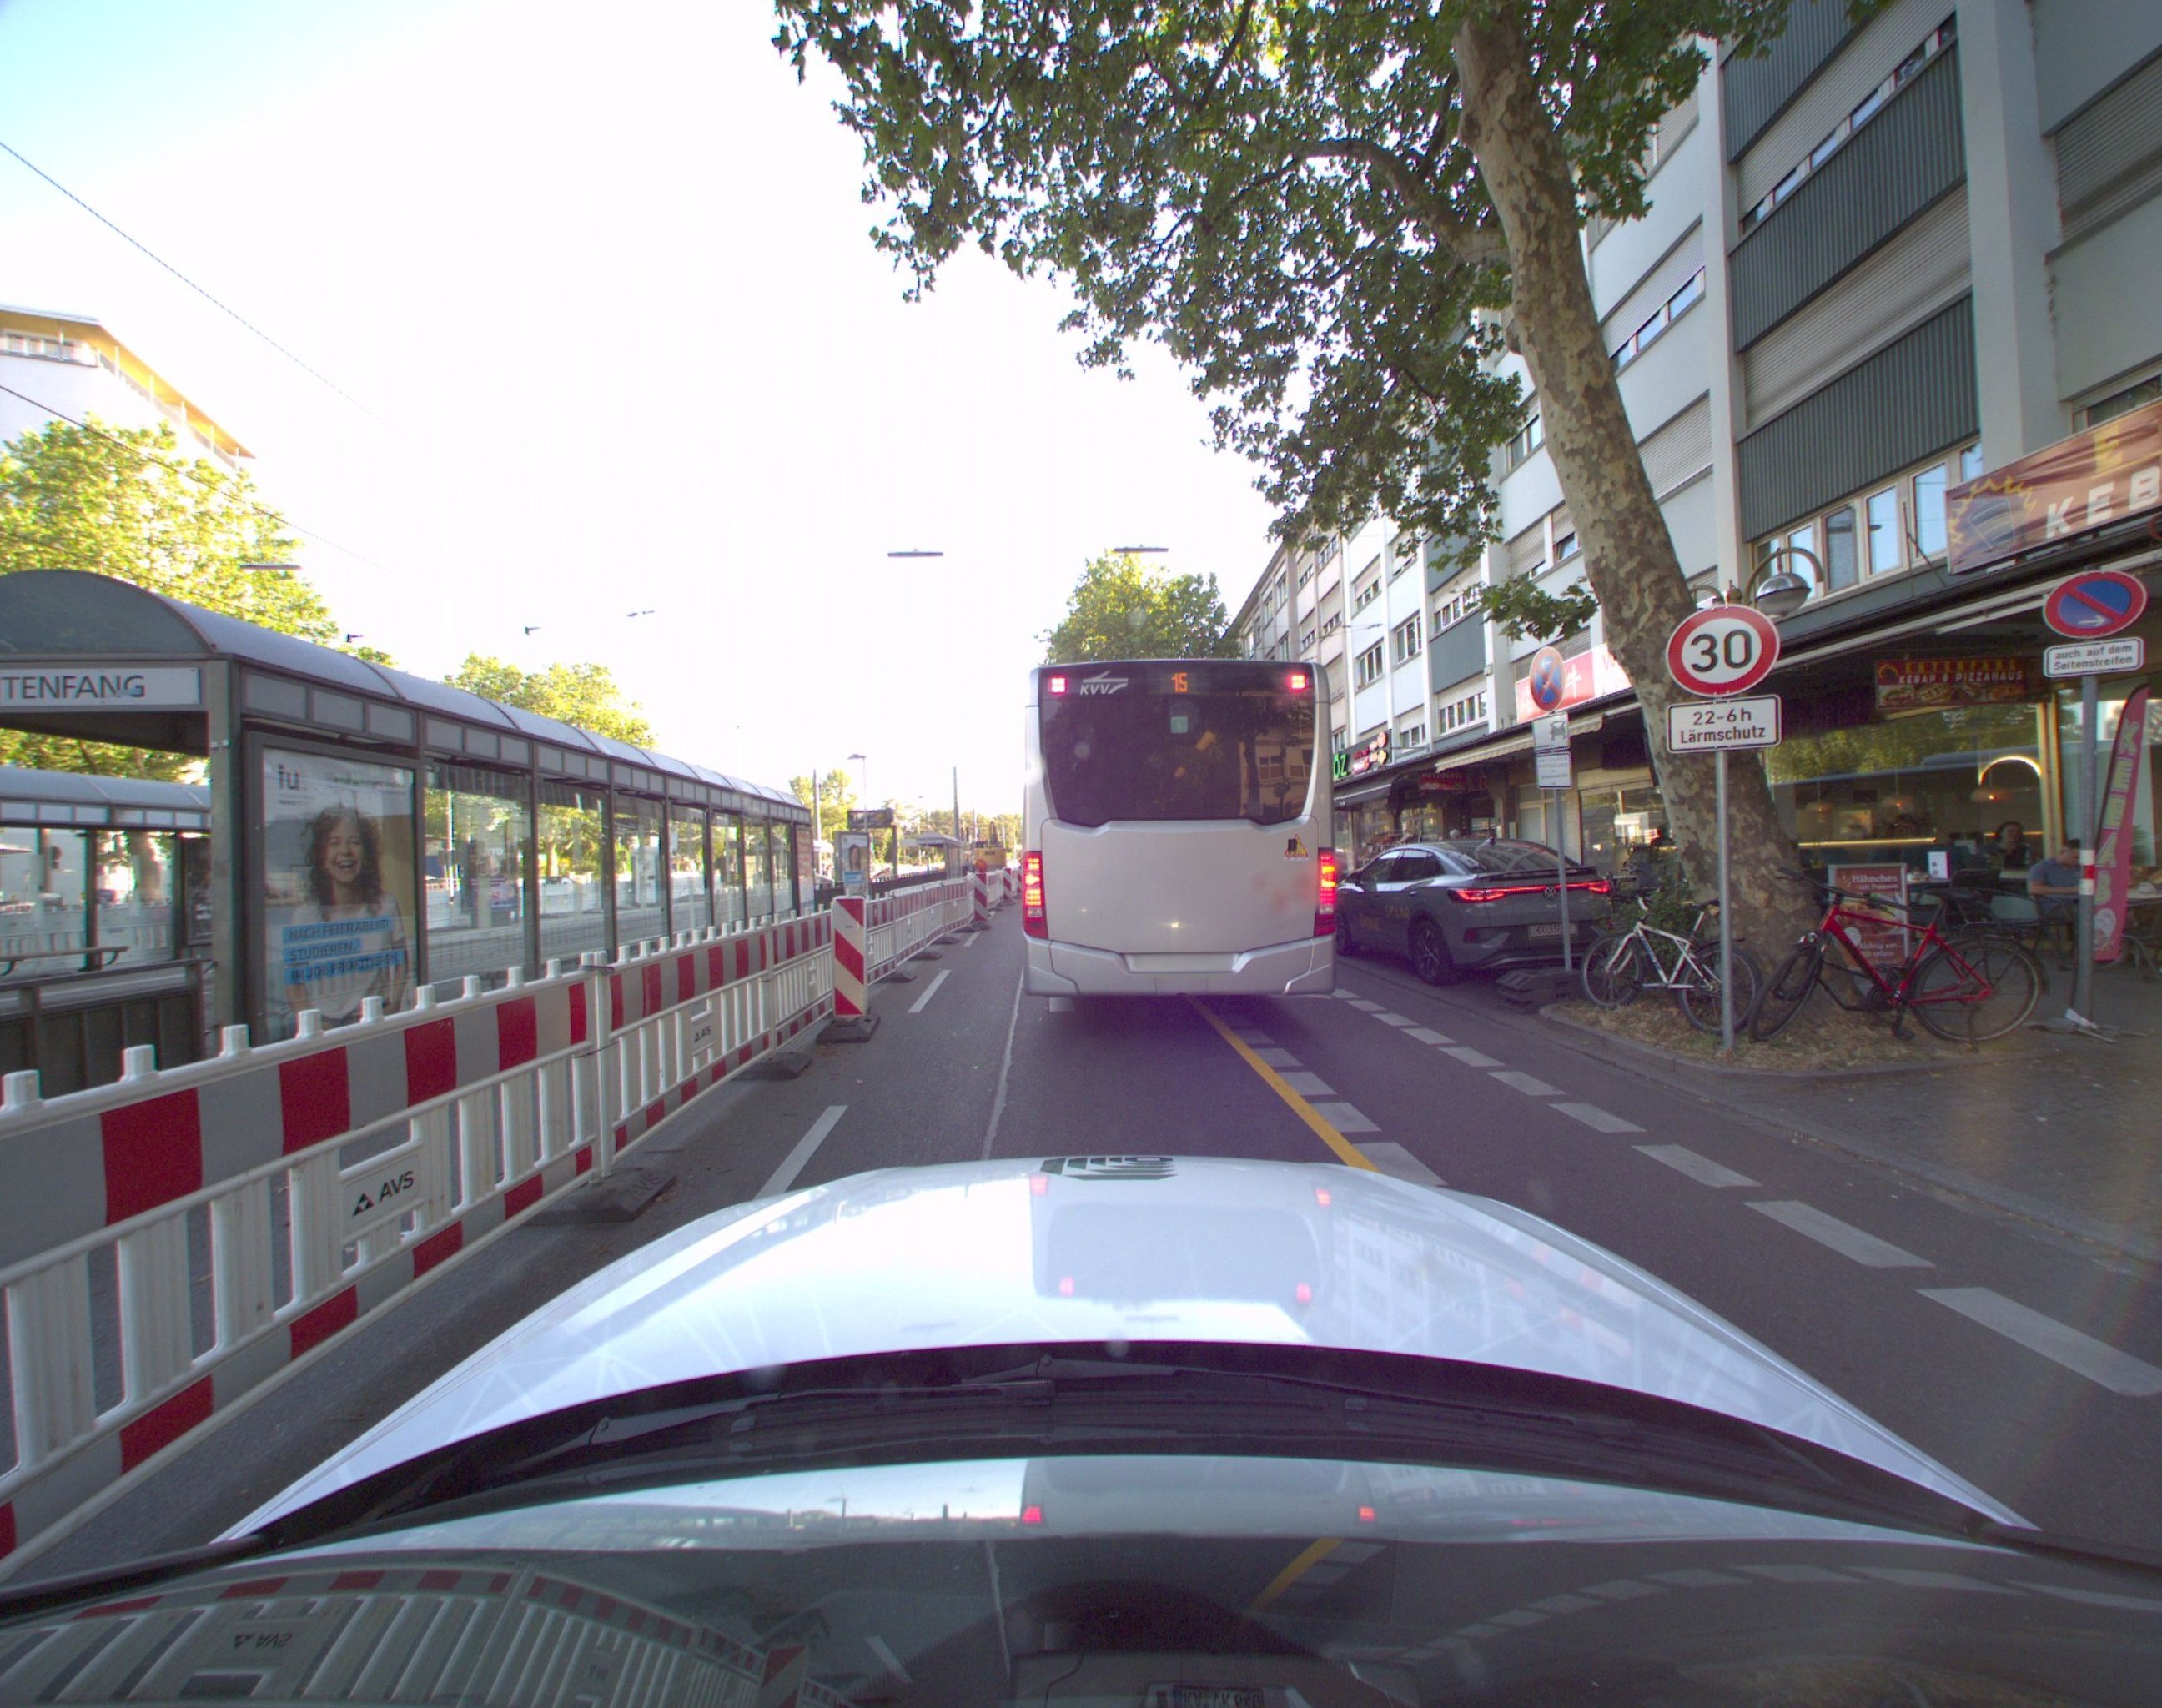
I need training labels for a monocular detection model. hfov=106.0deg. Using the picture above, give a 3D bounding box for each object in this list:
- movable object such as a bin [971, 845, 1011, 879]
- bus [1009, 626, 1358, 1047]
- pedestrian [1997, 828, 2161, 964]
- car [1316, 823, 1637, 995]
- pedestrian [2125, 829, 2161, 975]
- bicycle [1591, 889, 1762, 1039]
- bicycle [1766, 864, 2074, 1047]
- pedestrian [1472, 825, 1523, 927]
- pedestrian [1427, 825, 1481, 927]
[{"bbox_3d":[-7.046,0.612,64.015,2.800,2.462,3.995,-2,0,-3],"label":"movable object such as a bin"},{"bbox_3d":[0.963,-0.127,11.373,2.598,3.170,10.296,-1,0,2],"label":"bus"},{"bbox_3d":[9.620,0.394,7.855,0.673,1.203,0.706,-5,-1,11],"label":"pedestrian"},{"bbox_3d":[4.600,0.563,10.321,1.736,1.597,4.294,-4,0,-3],"label":"car"},{"bbox_3d":[9.557,0.397,6.818,0.612,1.243,0.714,-5,-1,11],"label":"pedestrian"},{"bbox_3d":[4.476,0.785,6.196,0.294,0.927,1.127,-6,2,-8],"label":"bicycle"},{"bbox_3d":[5.490,0.675,5.378,1.450,1.066,0.297,-5,2,13],"label":"bicycle"},{"bbox_3d":[8.496,0.442,16.633,0.611,2.014,0.696,-2,-1,-1],"label":"pedestrian"},{"bbox_3d":[7.546,0.435,16.507,0.689,2.014,0.695,-2,-1,-3],"label":"pedestrian"}]
